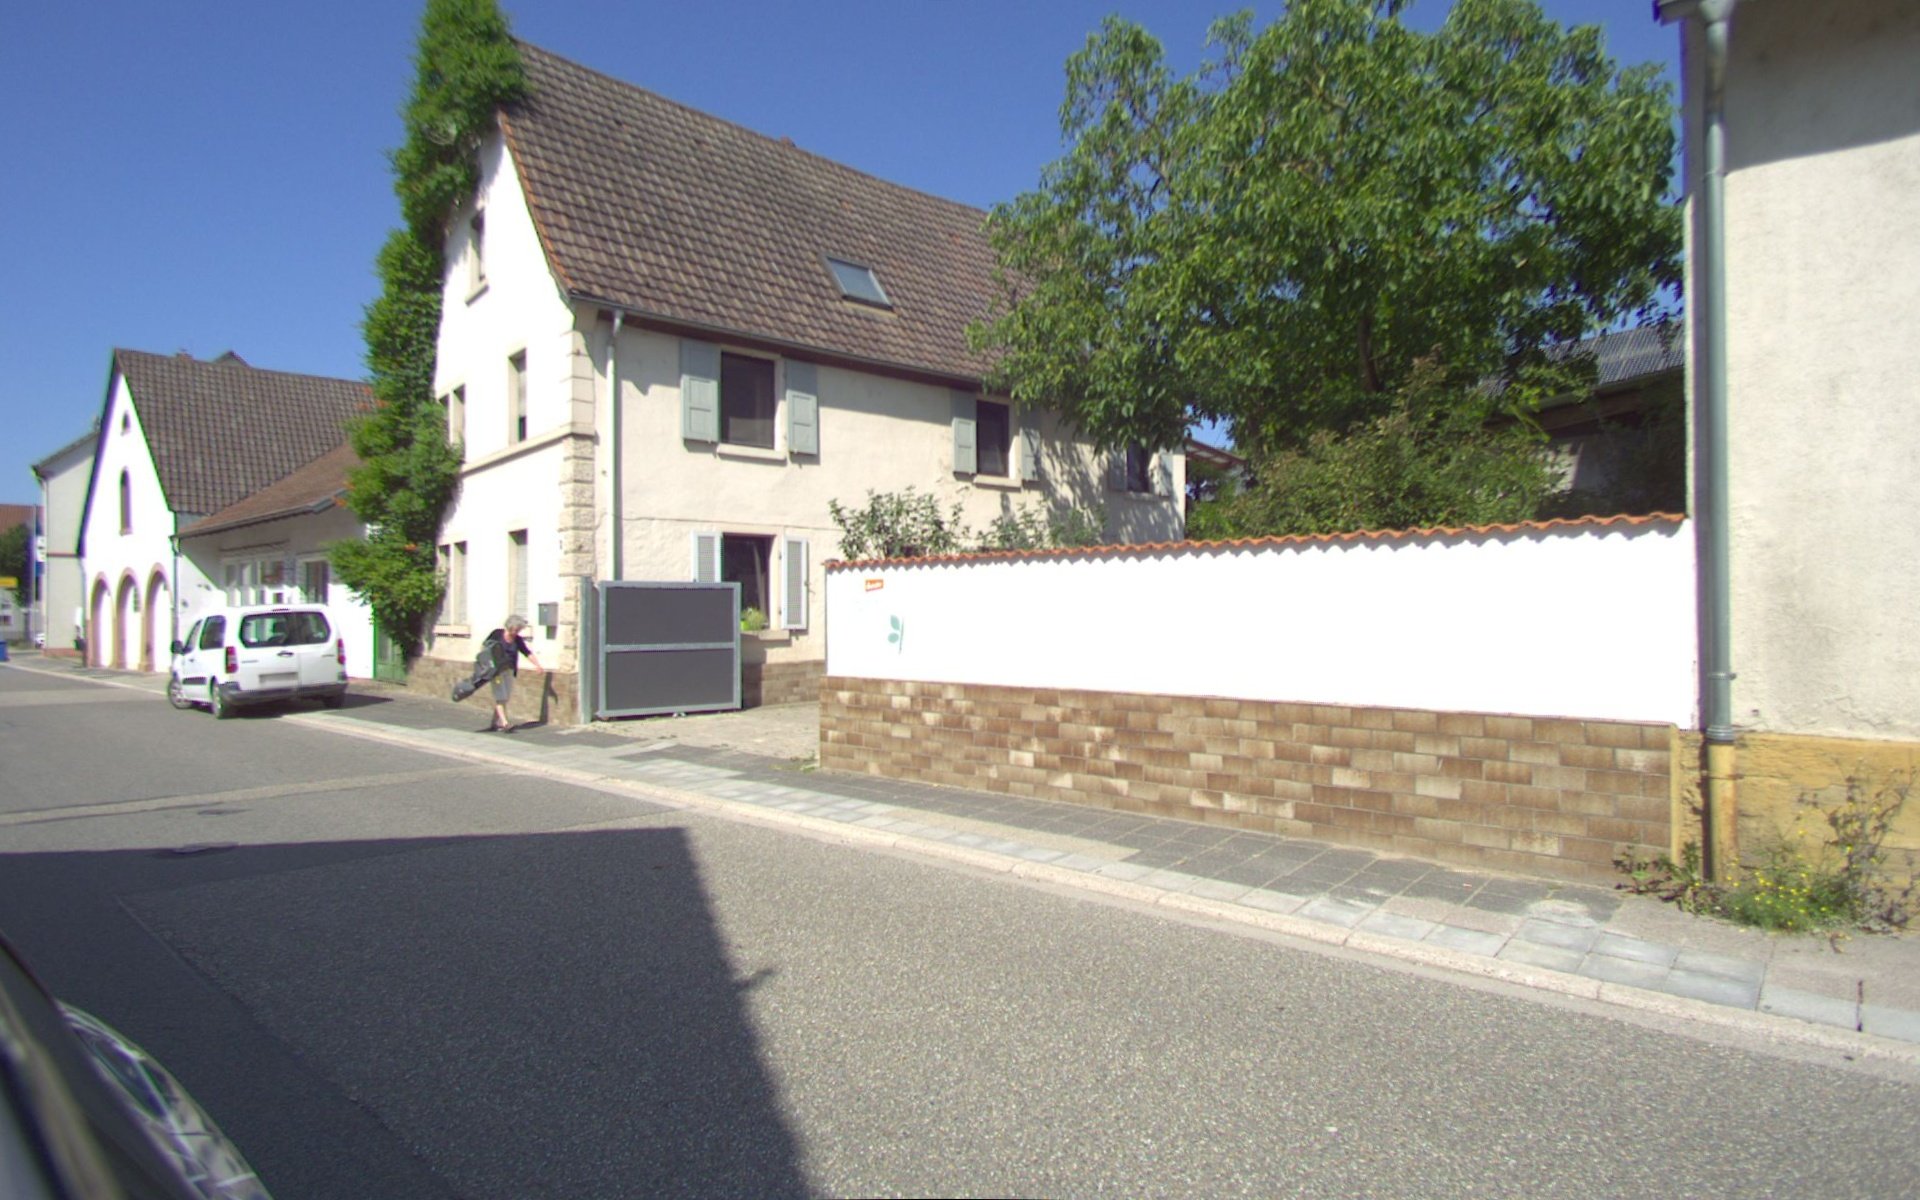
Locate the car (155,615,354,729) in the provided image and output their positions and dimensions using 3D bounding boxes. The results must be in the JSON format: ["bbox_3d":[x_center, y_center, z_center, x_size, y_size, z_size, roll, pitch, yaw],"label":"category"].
[{"bbox_3d":[-12.235,1.145,17.440,4.428,1.659,1.835,-2,0,42],"label":"car"}]

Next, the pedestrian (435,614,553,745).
[{"bbox_3d":[-5.962,0.978,12.947,1.140,1.563,1.002,-2,-1,43],"label":"pedestrian"}]

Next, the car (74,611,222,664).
[{"bbox_3d":[-36.567,1.661,45.703,5.110,2.213,2.126,0,-1,-40],"label":"car"}]

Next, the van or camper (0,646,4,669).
[{"bbox_3d":[-40.712,2.443,42.685,0.582,0.959,0.600,0,-2,-44],"label":"van or camper"}]
